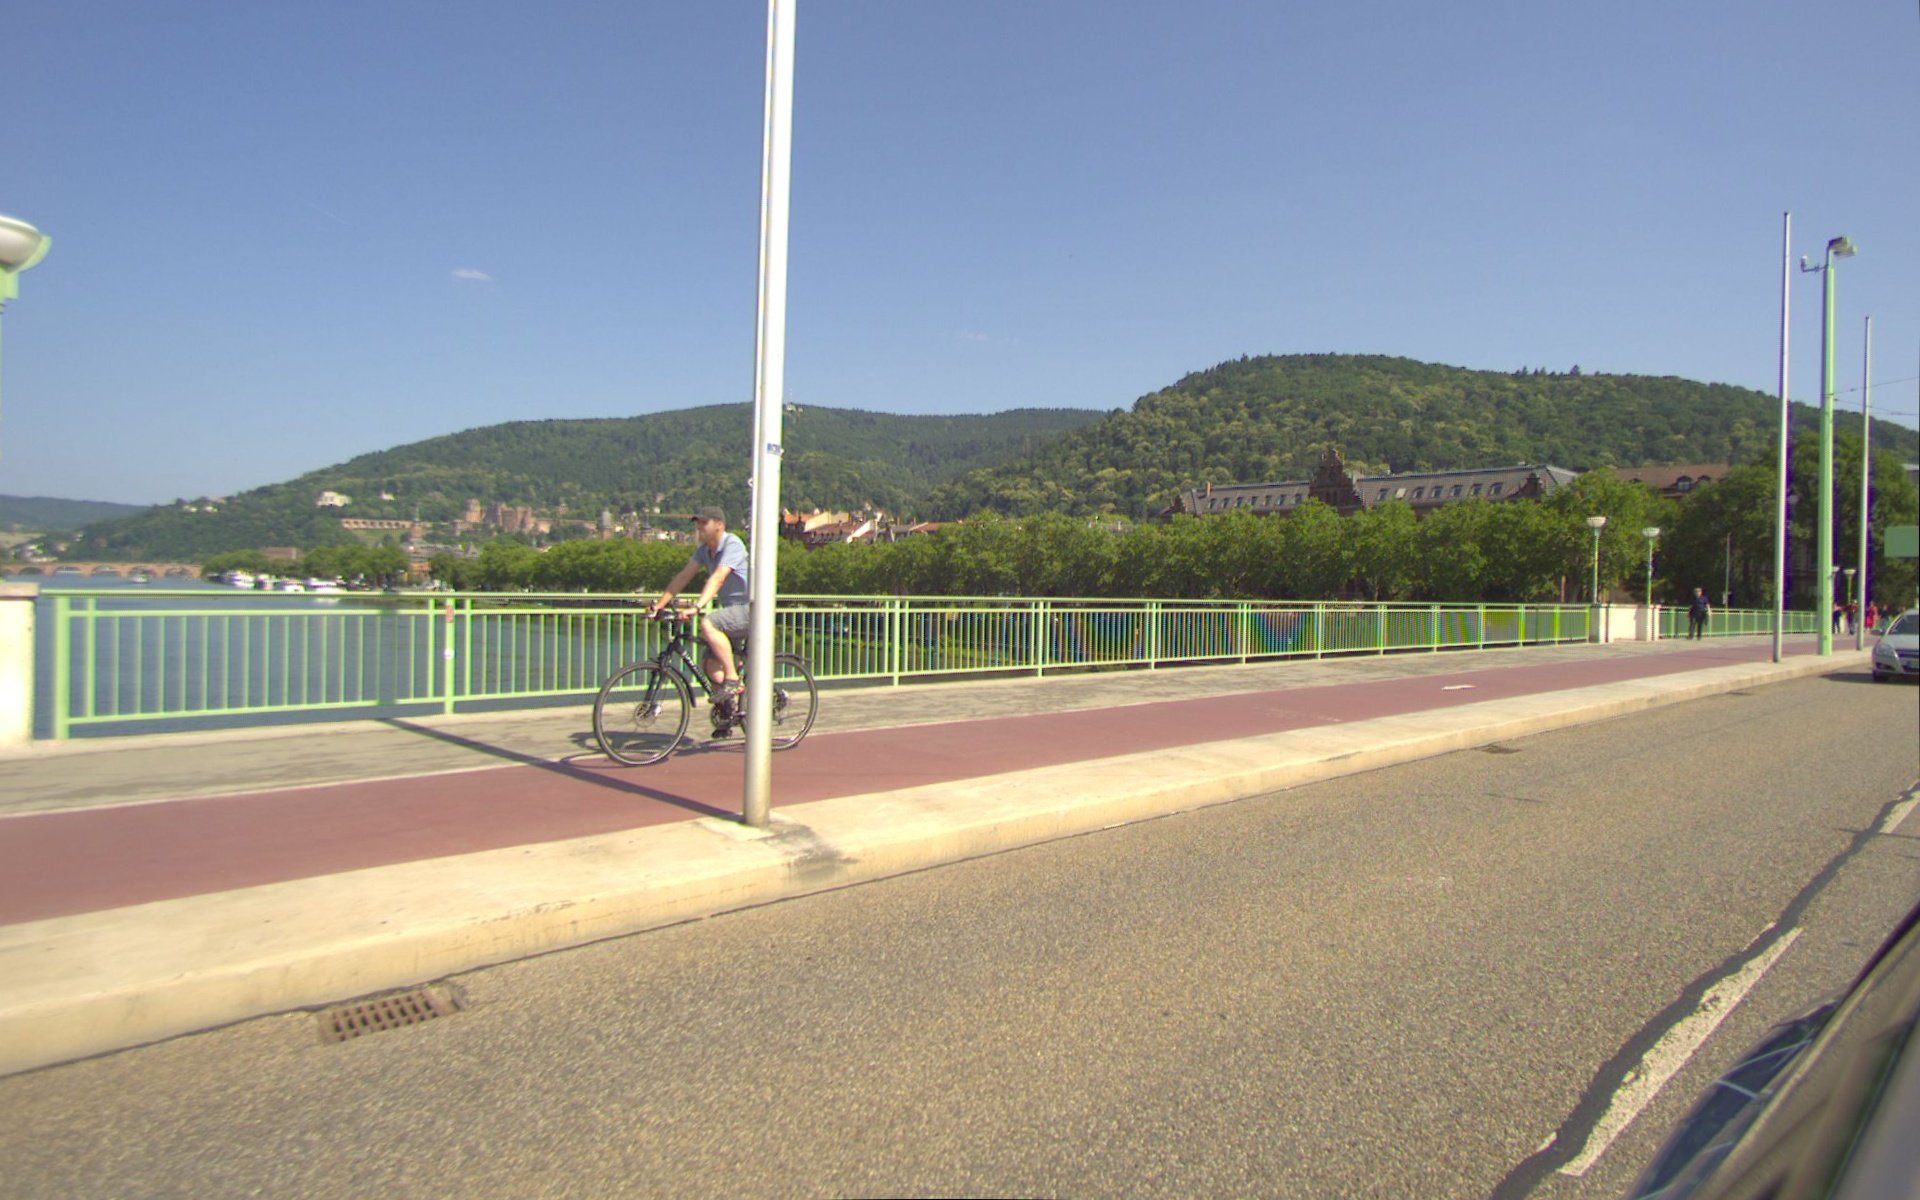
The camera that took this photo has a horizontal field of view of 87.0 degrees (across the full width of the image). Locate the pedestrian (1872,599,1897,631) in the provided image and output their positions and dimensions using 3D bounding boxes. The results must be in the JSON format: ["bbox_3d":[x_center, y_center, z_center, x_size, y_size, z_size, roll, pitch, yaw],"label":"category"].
[{"bbox_3d":[53.458,0.855,58.523,0.985,1.791,1.234,3,1,43],"label":"pedestrian"}]

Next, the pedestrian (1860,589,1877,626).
[{"bbox_3d":[45.046,0.365,50.176,0.585,1.816,0.622,1,1,44],"label":"pedestrian"}]

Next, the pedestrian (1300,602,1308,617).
[{"bbox_3d":[41.958,1.129,123.328,0.740,1.798,0.666,0,-1,44],"label":"pedestrian"}]

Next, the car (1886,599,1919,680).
[{"bbox_3d":[20.074,0.789,20.417,4.422,1.520,1.799,1,0,-44],"label":"car"}]

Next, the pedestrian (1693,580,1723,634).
[{"bbox_3d":[24.798,0.238,33.539,0.654,1.766,0.963,1,-1,44],"label":"pedestrian"}]

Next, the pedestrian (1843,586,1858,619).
[{"bbox_3d":[44.628,0.121,50.708,0.523,1.670,0.688,1,1,43],"label":"pedestrian"}]

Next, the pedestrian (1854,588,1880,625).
[{"bbox_3d":[47.915,0.326,53.466,0.985,1.919,1.234,1,1,43],"label":"pedestrian"}]

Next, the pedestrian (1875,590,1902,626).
[{"bbox_3d":[51.470,0.445,56.104,0.923,1.978,1.016,1,1,-43],"label":"pedestrian"}]

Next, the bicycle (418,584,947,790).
[{"bbox_3d":[-1.685,0.487,7.134,0.793,1.110,3.684,2,1,44],"label":"bicycle"}]

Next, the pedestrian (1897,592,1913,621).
[{"bbox_3d":[54.222,0.367,58.067,0.654,1.670,0.854,1,1,43],"label":"pedestrian"}]

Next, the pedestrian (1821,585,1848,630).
[{"bbox_3d":[40.892,0.332,47.321,0.874,2.039,1.042,1,1,43],"label":"pedestrian"}]

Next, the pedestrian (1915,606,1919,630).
[{"bbox_3d":[63.904,1.180,67.156,0.679,1.582,0.651,2,1,-40],"label":"pedestrian"}]

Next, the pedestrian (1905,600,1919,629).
[{"bbox_3d":[56.304,0.844,59.645,0.834,1.698,0.872,1,1,43],"label":"pedestrian"}]

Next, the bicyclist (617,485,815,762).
[{"bbox_3d":[-1.698,0.143,7.101,0.673,1.765,1.132,2,1,45],"label":"bicyclist"}]

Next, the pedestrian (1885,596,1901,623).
[{"bbox_3d":[59.220,0.603,64.229,0.679,1.652,0.651,2,-1,-40],"label":"pedestrian"}]
